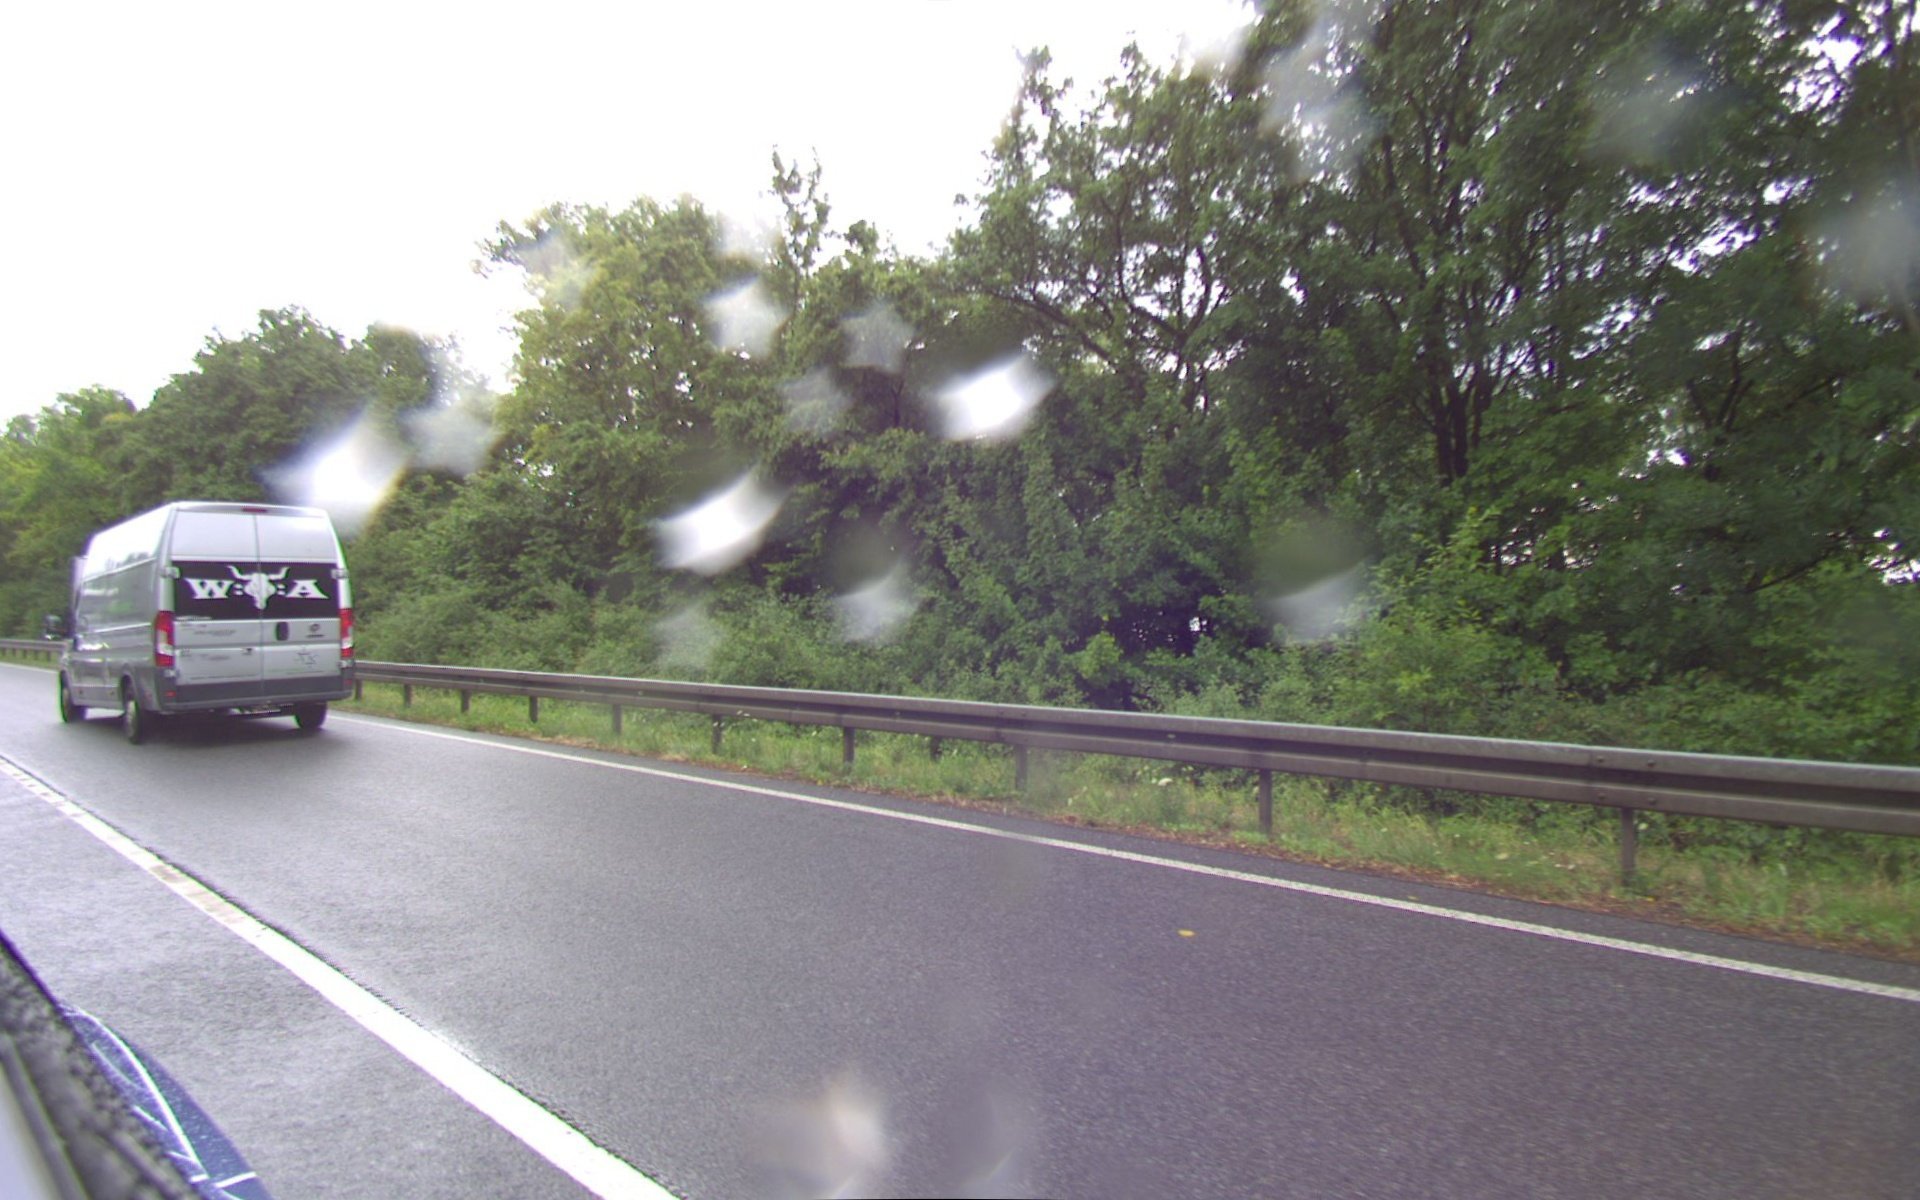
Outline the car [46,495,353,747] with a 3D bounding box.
[{"bbox_3d":[-10.414,0.247,13.617,6.168,2.697,2.026,0,-1,41],"label":"car"}]
